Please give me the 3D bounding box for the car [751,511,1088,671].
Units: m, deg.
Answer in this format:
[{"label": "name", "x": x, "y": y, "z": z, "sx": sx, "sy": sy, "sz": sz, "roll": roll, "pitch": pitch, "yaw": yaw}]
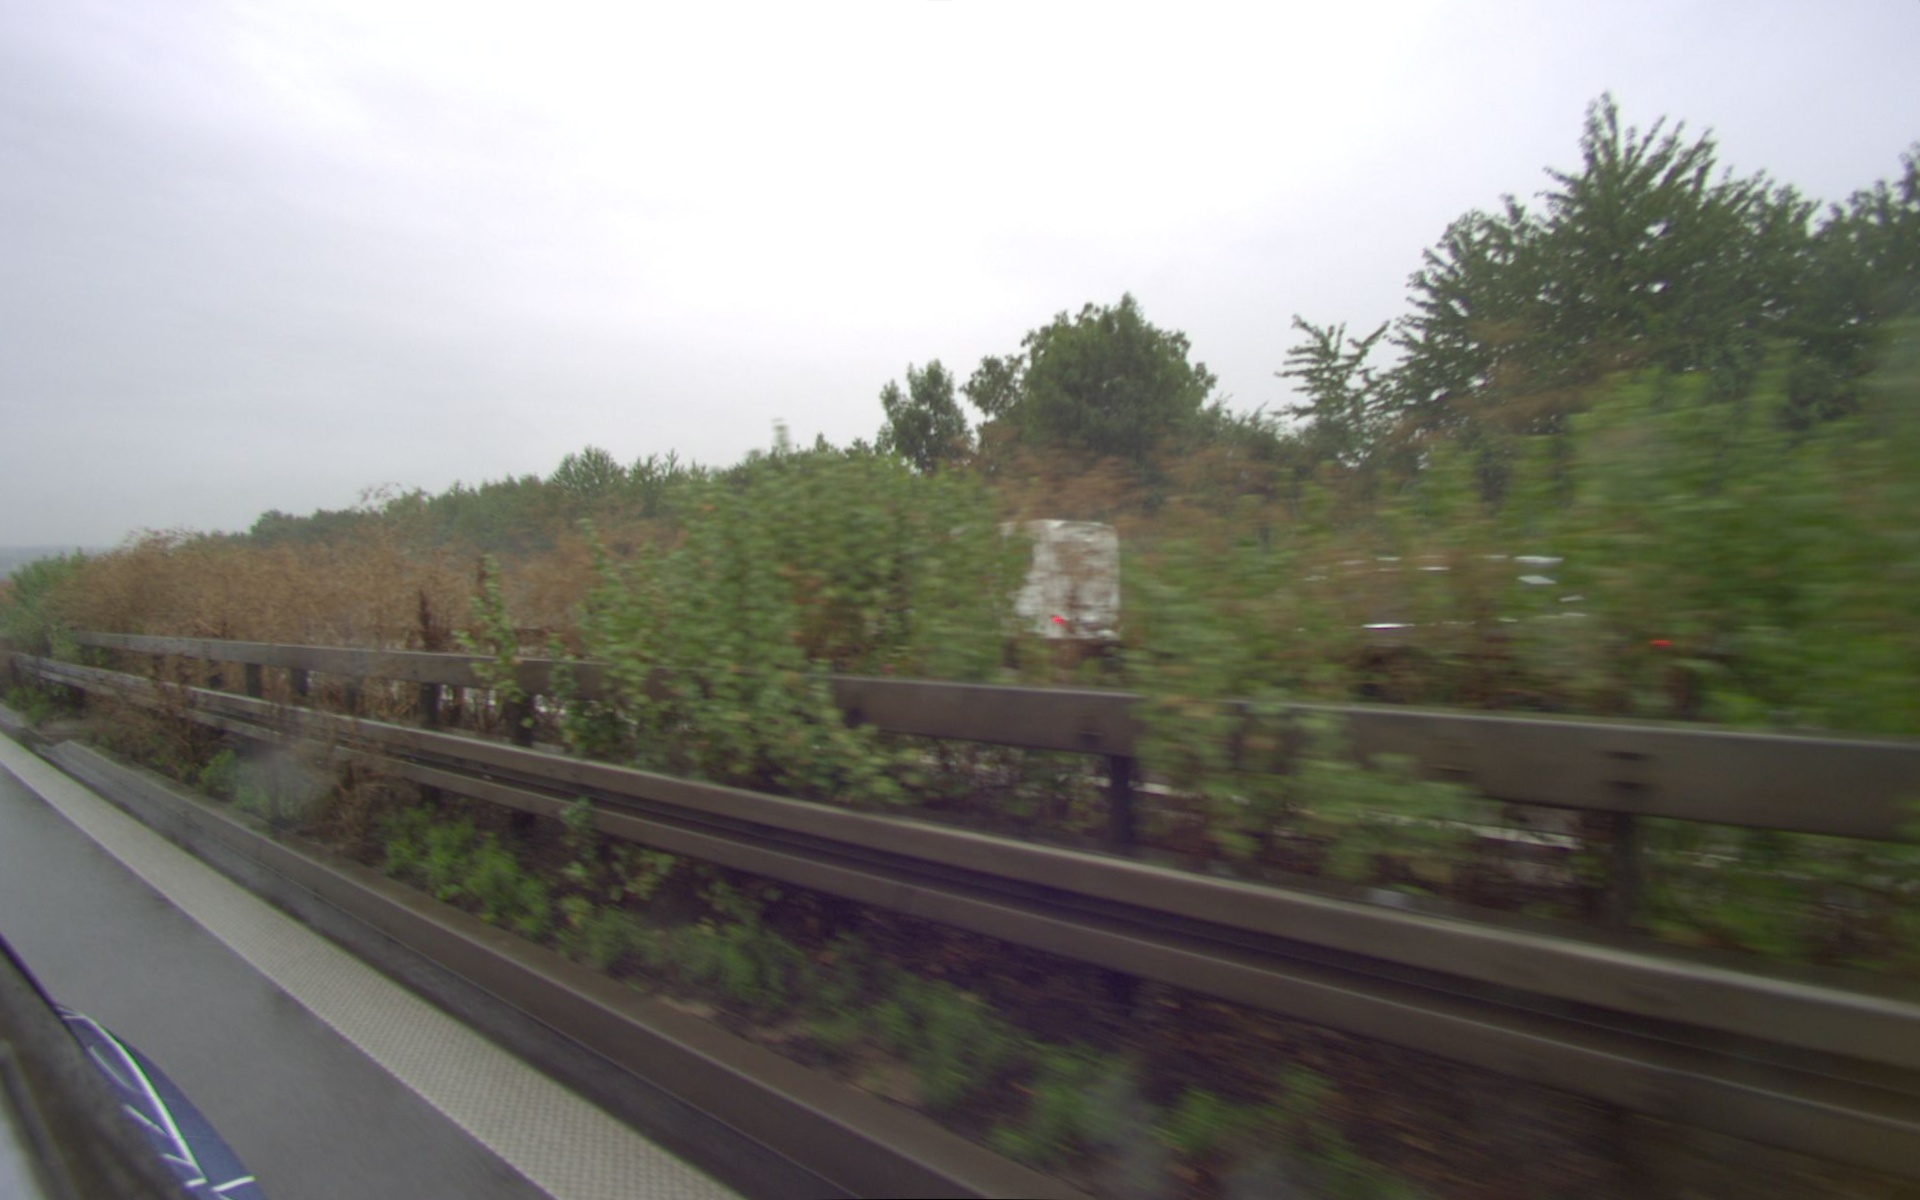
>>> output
[{"label": "car", "x": -1.111, "y": -0.105, "z": 21.464, "sx": 7.423, "sy": 2.846, "sz": 2.520, "roll": -2, "pitch": 0, "yaw": 42}]
